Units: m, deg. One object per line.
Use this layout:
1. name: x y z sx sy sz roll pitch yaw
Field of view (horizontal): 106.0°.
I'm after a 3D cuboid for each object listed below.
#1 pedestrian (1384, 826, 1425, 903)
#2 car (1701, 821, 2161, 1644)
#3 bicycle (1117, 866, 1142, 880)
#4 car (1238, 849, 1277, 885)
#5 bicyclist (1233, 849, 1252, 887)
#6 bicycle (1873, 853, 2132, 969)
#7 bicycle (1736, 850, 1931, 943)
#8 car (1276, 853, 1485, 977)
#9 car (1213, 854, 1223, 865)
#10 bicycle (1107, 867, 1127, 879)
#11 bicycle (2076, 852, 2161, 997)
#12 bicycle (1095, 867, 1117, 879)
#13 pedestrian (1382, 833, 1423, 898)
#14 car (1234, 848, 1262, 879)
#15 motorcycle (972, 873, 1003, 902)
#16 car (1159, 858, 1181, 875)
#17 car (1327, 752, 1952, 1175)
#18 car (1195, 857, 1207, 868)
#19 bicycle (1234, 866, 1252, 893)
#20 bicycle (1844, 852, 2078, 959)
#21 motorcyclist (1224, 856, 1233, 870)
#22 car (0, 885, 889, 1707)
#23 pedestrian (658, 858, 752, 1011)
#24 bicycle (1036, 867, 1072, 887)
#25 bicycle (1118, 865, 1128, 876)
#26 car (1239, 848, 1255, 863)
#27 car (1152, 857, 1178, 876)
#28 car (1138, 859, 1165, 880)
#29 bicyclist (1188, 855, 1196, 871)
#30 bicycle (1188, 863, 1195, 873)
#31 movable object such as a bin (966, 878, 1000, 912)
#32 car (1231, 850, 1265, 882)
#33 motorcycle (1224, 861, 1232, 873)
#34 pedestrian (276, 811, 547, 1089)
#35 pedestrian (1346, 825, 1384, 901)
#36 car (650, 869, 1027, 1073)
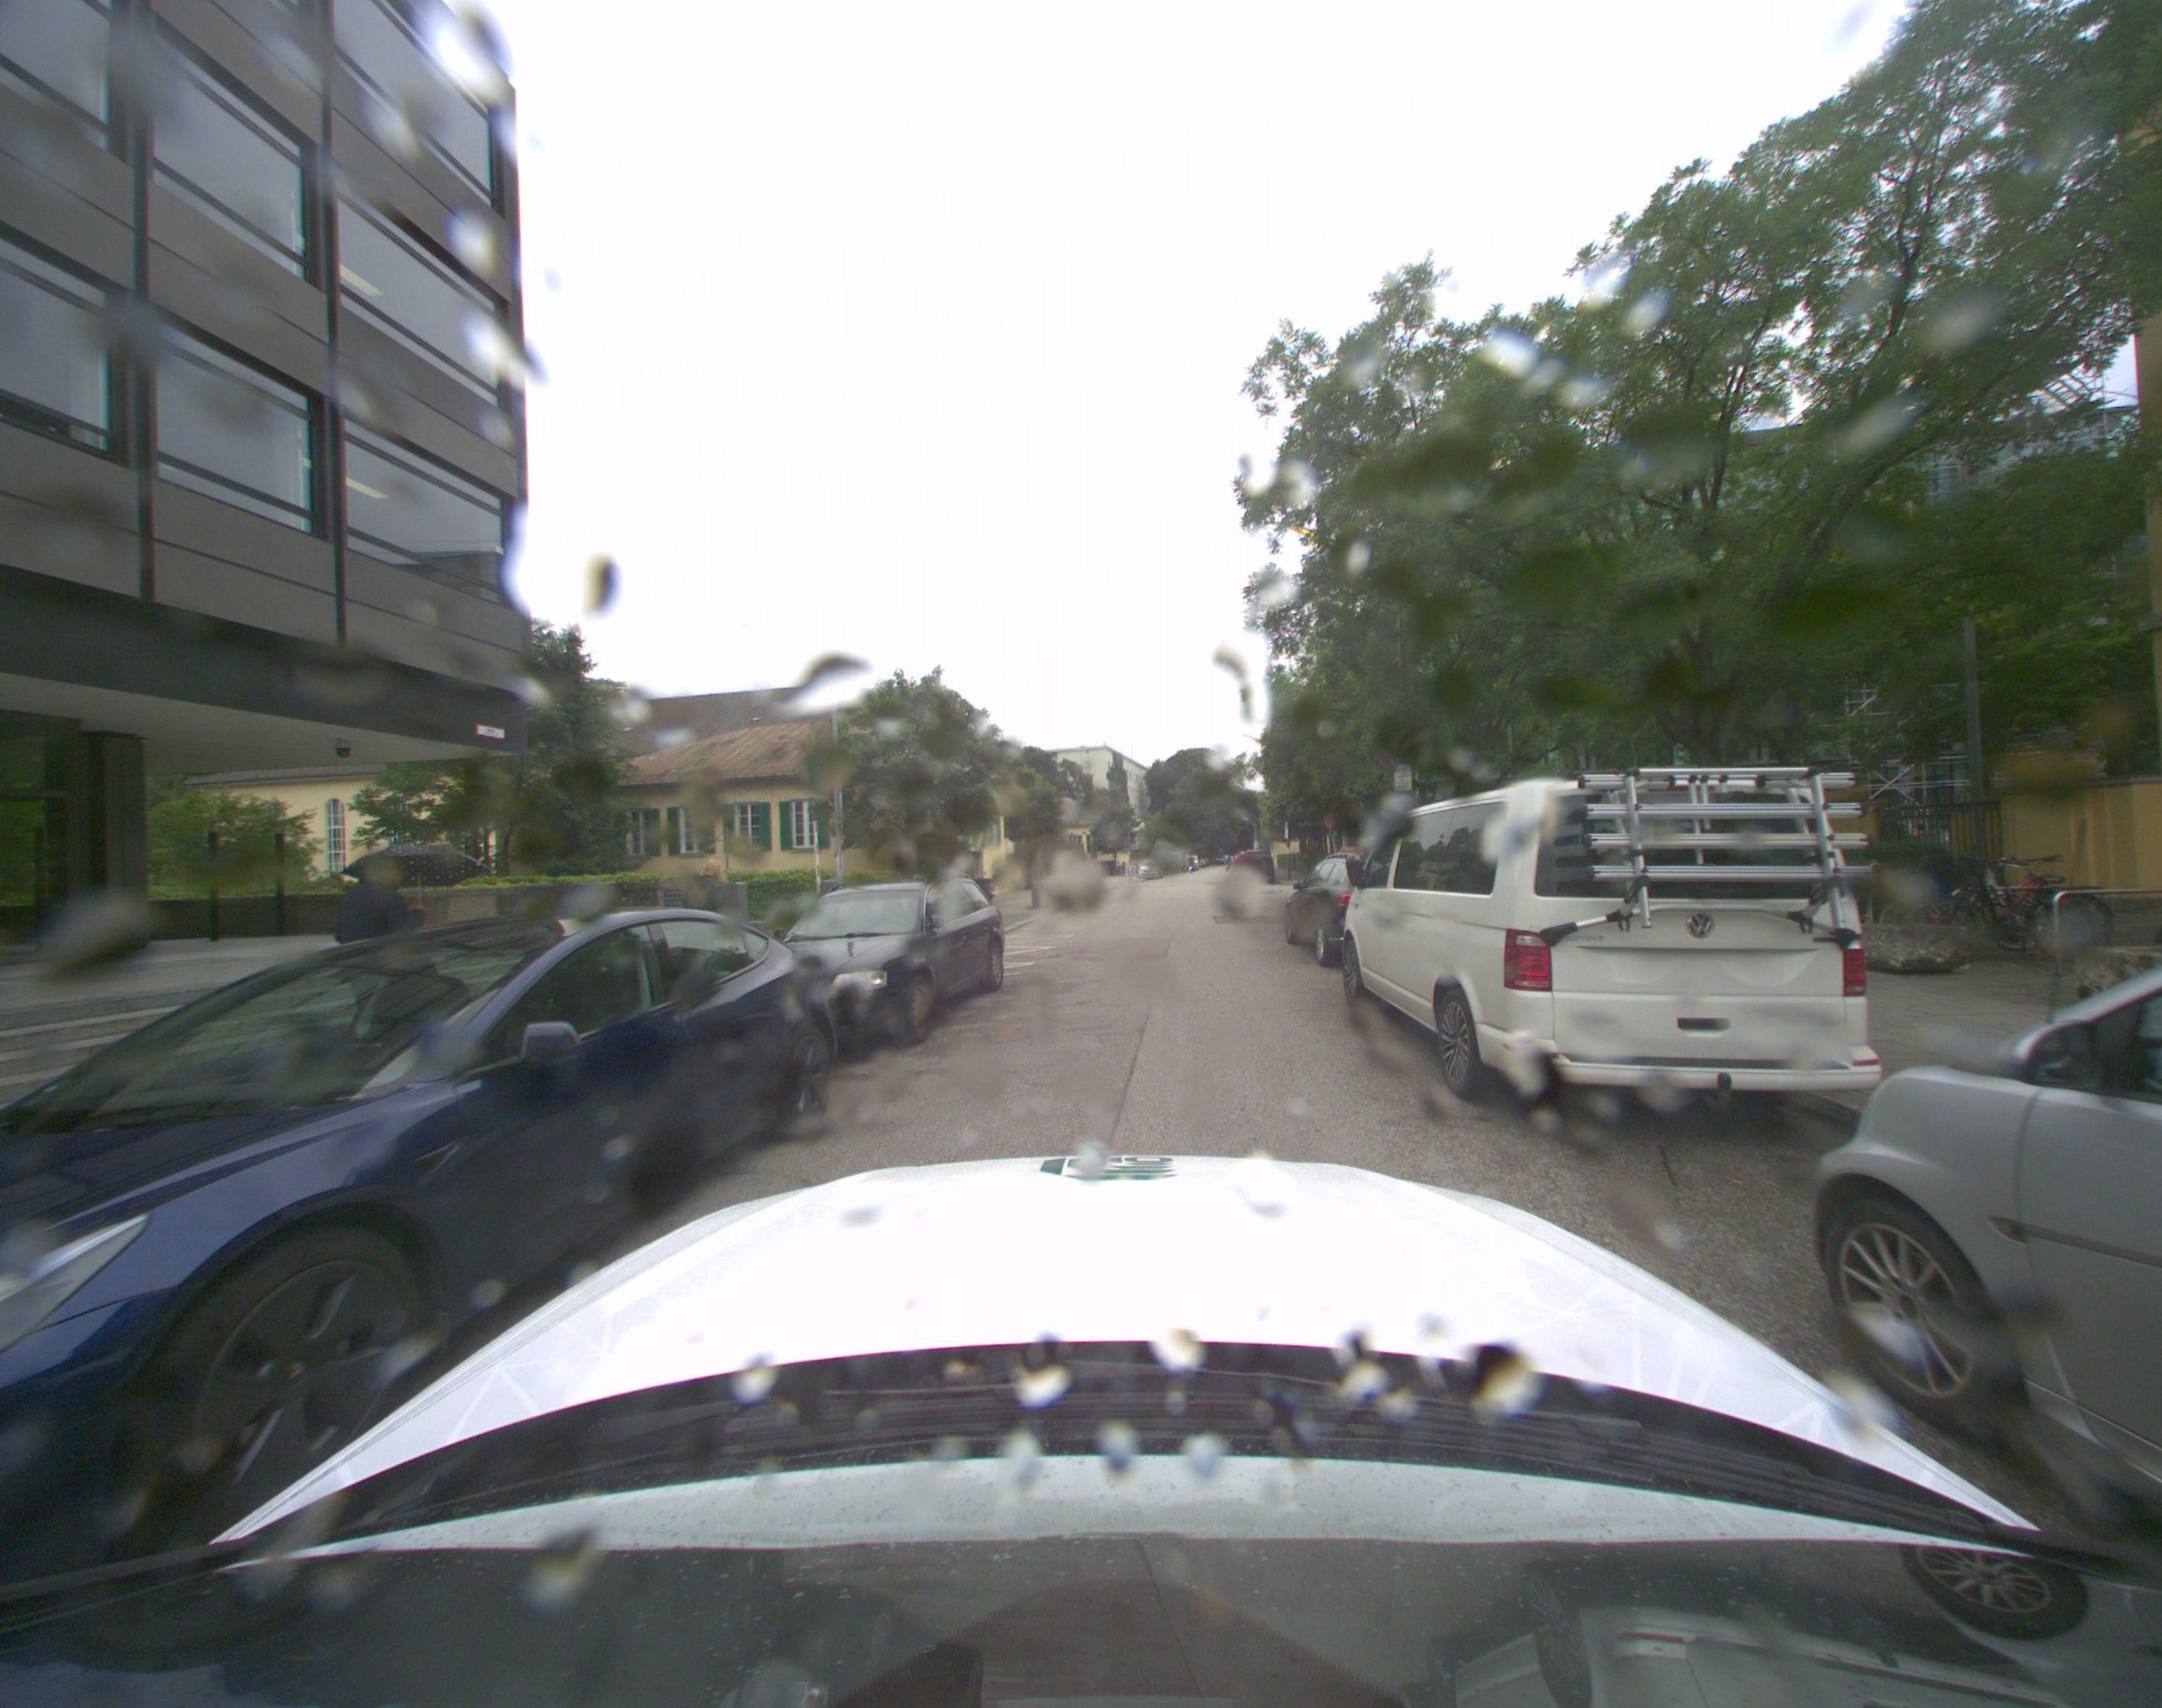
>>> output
1. pedestrian: 9.284 0.307 23.395 0.738 2.135 1.058 -3 -1 7
2. car: 2.810 0.710 1.357 1.596 1.546 2.940 0 0 8
3. bicycle: 3.607 1.395 60.191 0.615 1.004 2.153 1 0 41
4. car: 9.652 0.686 44.850 1.751 1.823 4.148 -1 0 8
5. bicyclist: 6.508 0.580 32.862 0.667 1.498 1.098 -2 -2 10
6. bicycle: 9.760 0.603 8.678 1.920 1.113 0.472 -3 -1 9
7. bicycle: 10.073 0.567 10.941 2.022 1.113 0.472 -3 -1 4
8. car: 4.227 0.744 12.373 1.762 1.490 4.981 0 0 5
9. car: 28.203 1.075 167.250 1.981 2.099 4.011 1 0 10
10. bicycle: 3.103 1.663 71.092 1.622 1.004 0.618 -1 -2 -28
11. bicycle: 9.411 0.520 6.544 1.920 1.113 0.472 -3 -1 9
12. bicycle: 1.971 1.496 64.723 1.617 0.926 0.647 -1 -2 -17
13. pedestrian: 9.696 0.333 24.569 0.735 1.907 1.062 -4 -1 43
14. car: 11.430 0.640 55.767 1.738 1.943 4.241 -2 0 11
15. motorcycle: -3.701 1.301 31.960 0.560 1.101 1.821 0 -1 -29
16. car: 8.948 1.281 81.832 1.982 1.603 4.010 -2 -1 9
17. car: 3.378 0.499 6.440 1.835 1.933 5.282 1 0 7
18. car: 19.201 1.290 130.304 1.799 1.683 4.011 -2 0 10
19. bicycle: 6.538 1.026 32.927 0.617 1.004 2.146 -2 -2 11
20. bicycle: 10.131 0.588 9.430 1.920 1.113 0.472 -3 -1 9
21. motorcyclist: 15.659 0.965 86.527 0.786 1.510 1.152 -2 -2 13
22. car: -2.695 0.985 3.724 1.913 1.439 4.926 -4 -1 6
23. pedestrian: -4.560 0.937 9.940 0.752 1.749 0.950 -2 -1 -8
24. bicycle: -1.521 1.311 45.809 1.918 1.099 0.616 0 0 10
25. bicycle: 3.950 1.515 76.554 0.617 1.004 1.624 -2 -2 14
26. car: 23.911 0.251 117.688 1.982 2.060 4.634 -2 0 8
27. car: 7.984 1.131 76.909 1.981 1.648 4.669 -2 -1 11
28. car: 5.617 1.211 64.492 1.723 1.581 3.799 1 0 11
29. bicyclist: 11.033 0.854 80.999 0.739 1.576 0.979 -2 -1 7
30. bicycle: 11.016 1.397 80.918 0.618 1.004 2.144 -2 0 7
31. movable object such as a bin: -3.236 1.354 26.910 0.930 1.063 0.841 -2 0 5
32. car: 10.154 0.712 49.660 1.851 1.794 4.523 -2 0 11
33. motorcycle: 15.642 1.360 86.472 0.655 1.206 2.250 -2 -1 13
34. pedestrian: -5.485 0.739 6.780 1.129 2.055 1.223 -3 -1 7
35. pedestrian: 8.239 0.263 23.683 0.738 2.135 1.058 -3 -1 7
36. car: -2.146 1.003 8.970 1.982 1.491 4.895 -4 -1 9
